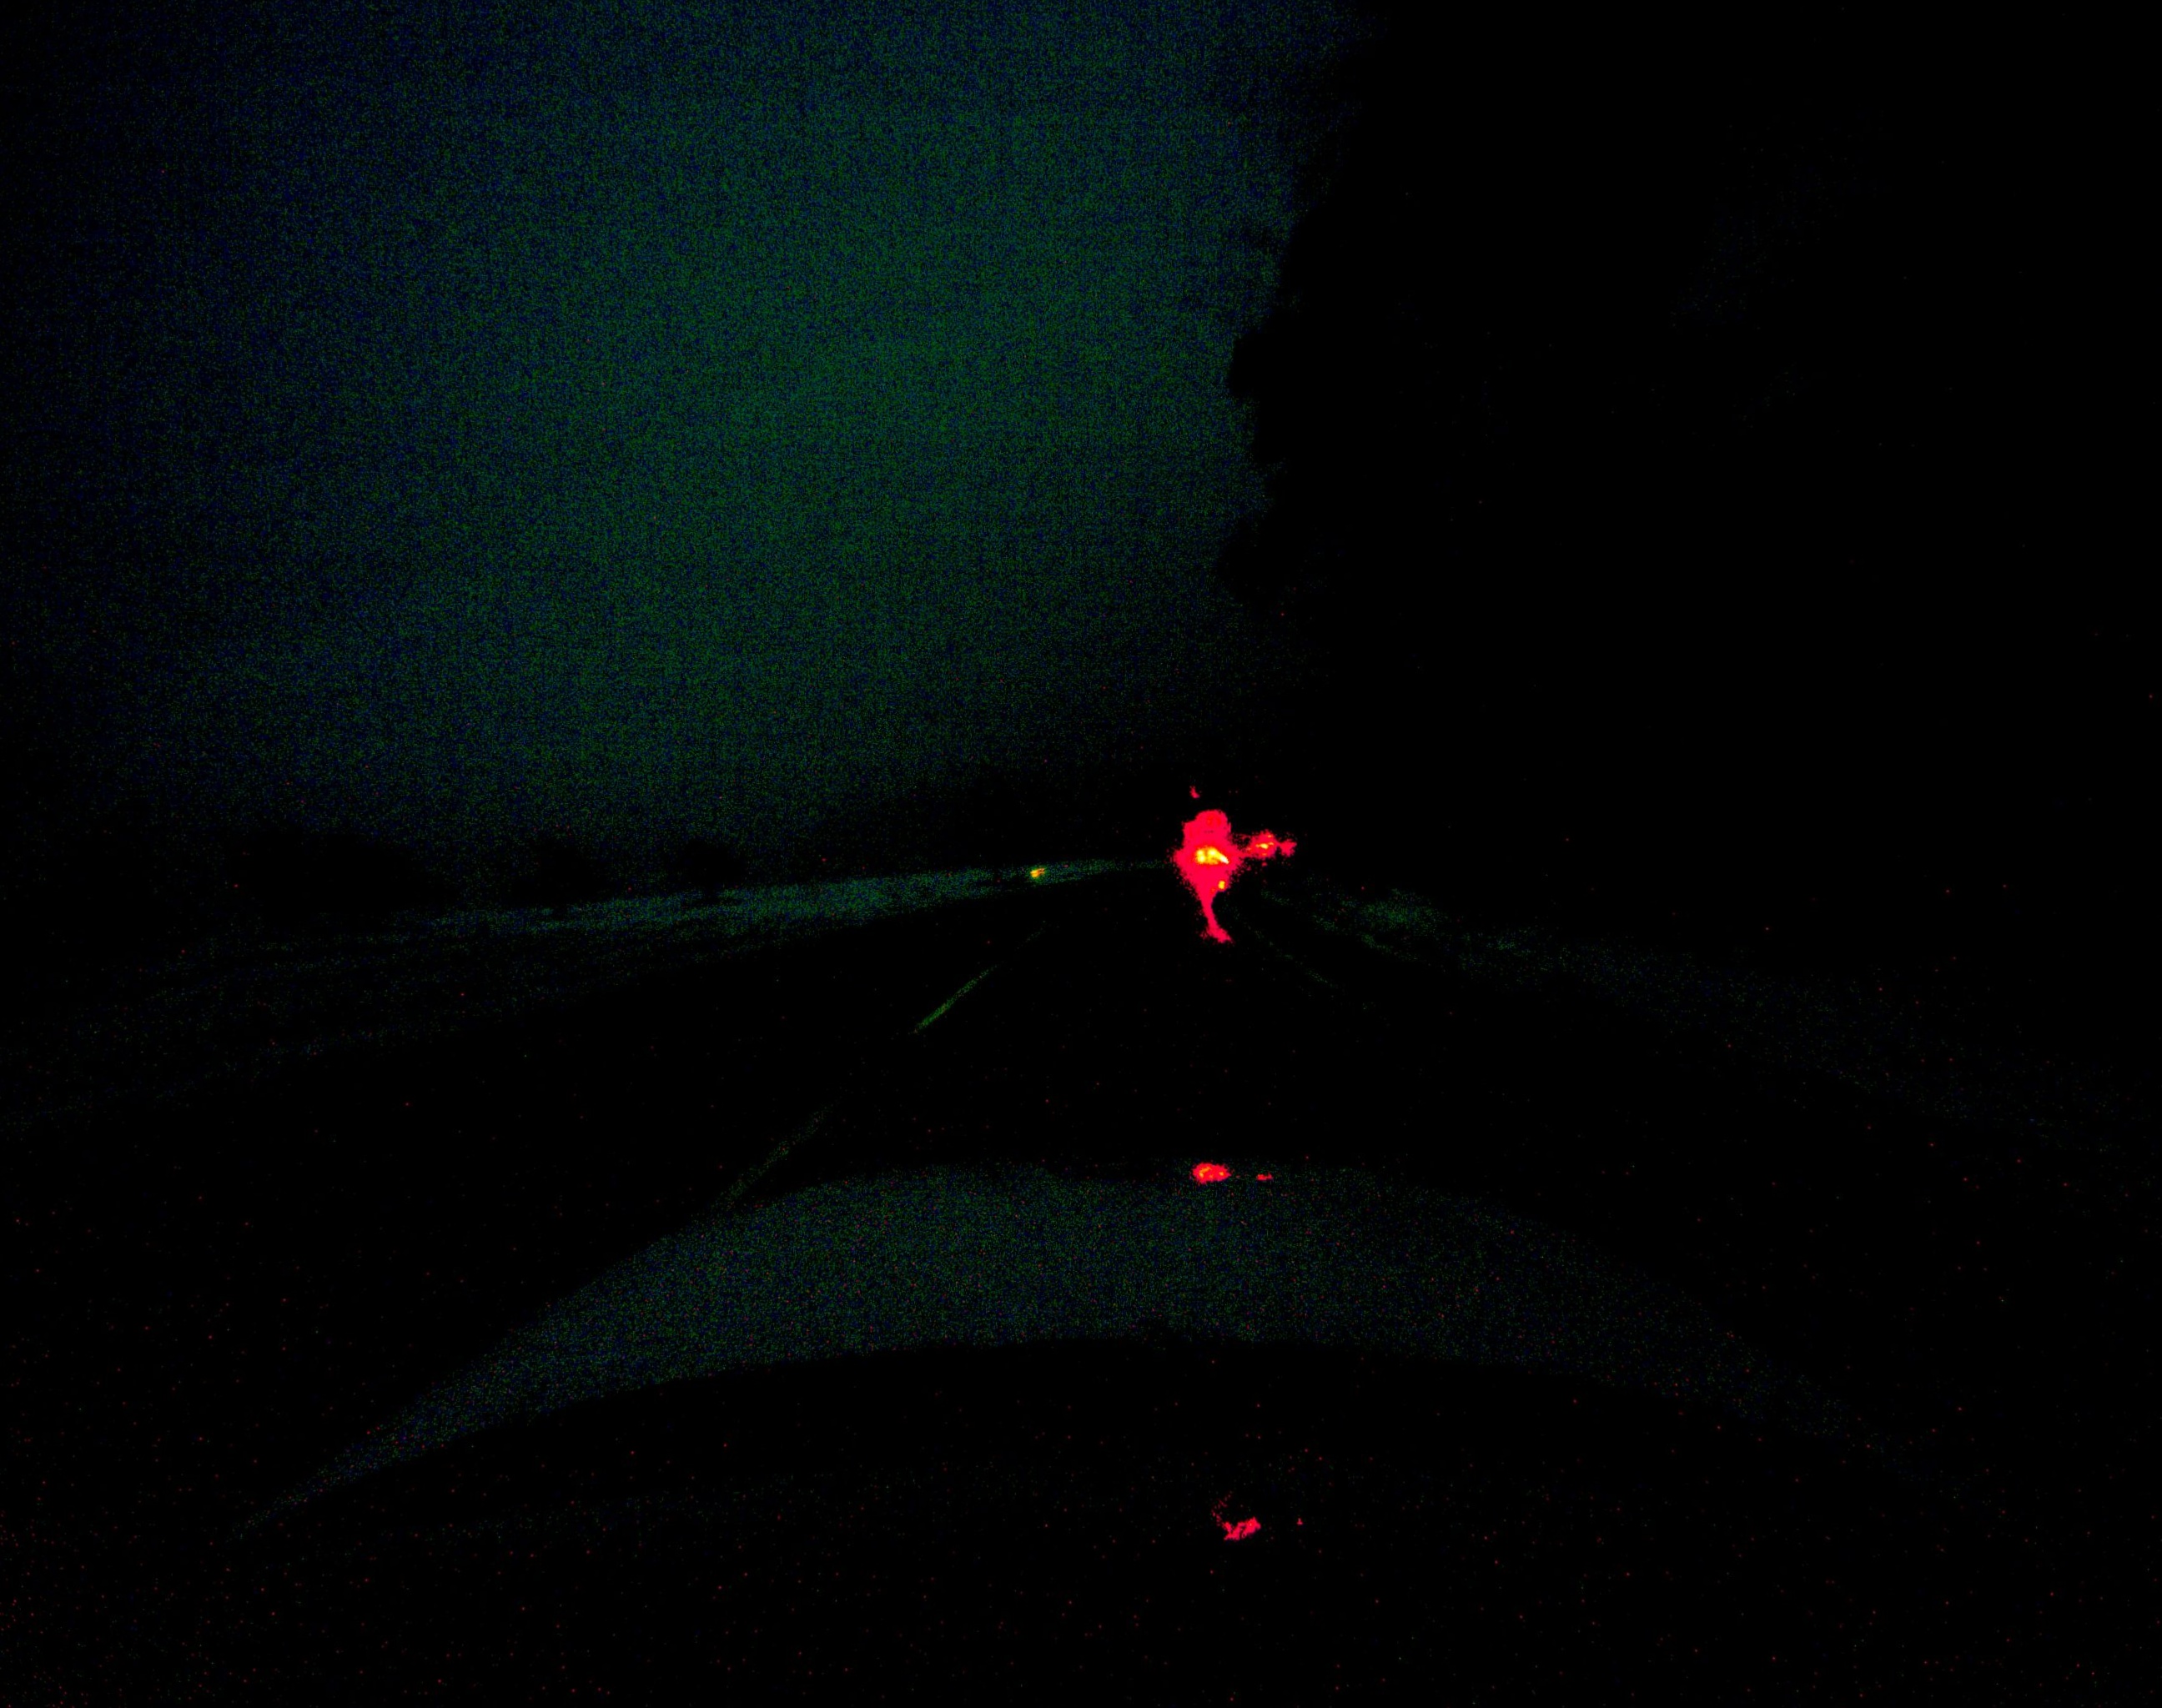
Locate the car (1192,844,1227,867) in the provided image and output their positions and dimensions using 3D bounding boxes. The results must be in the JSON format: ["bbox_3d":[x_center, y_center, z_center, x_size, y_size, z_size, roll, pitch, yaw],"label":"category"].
[{"bbox_3d":[8.532,0.102,53.893,1.908,1.276,4.016,-2,2,13],"label":"car"}]
